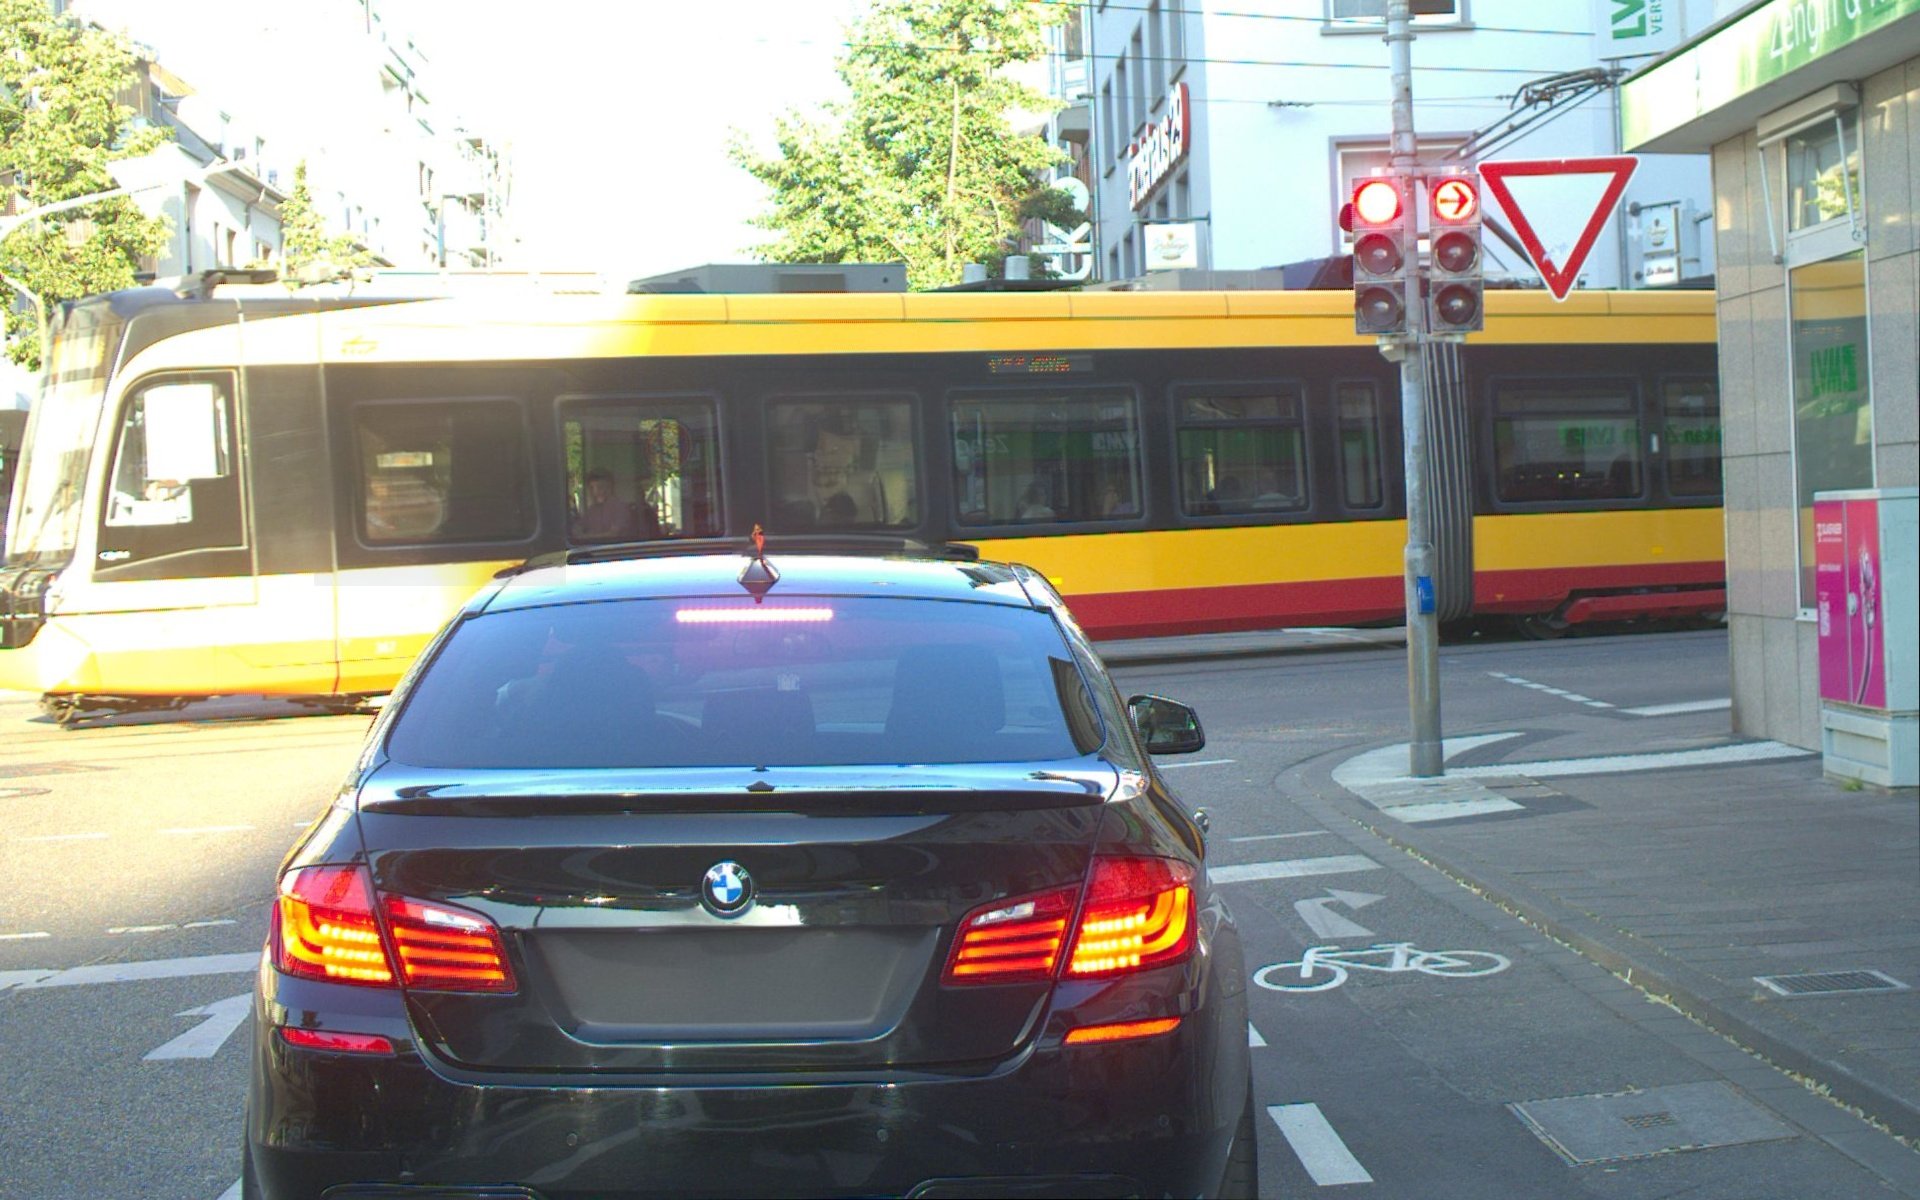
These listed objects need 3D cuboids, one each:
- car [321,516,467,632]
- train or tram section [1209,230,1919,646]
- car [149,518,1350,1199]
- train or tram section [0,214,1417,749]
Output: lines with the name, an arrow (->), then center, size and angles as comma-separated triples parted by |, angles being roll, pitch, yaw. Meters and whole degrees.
car -> -8.522, -0.414, 52.056 | 1.993, 1.612, 4.001 | -2, 1, -7
train or tram section -> 7.827, -1.747, 35.306 | 10.424, 3.798, 3.082 | -3, 2, -30
car -> -0.444, 0.592, 7.693 | 1.903, 1.535, 4.450 | 0, 1, -3
train or tram section -> -2.080, -1.169, 29.358 | 12.616, 3.852, 3.081 | -3, 2, -32
